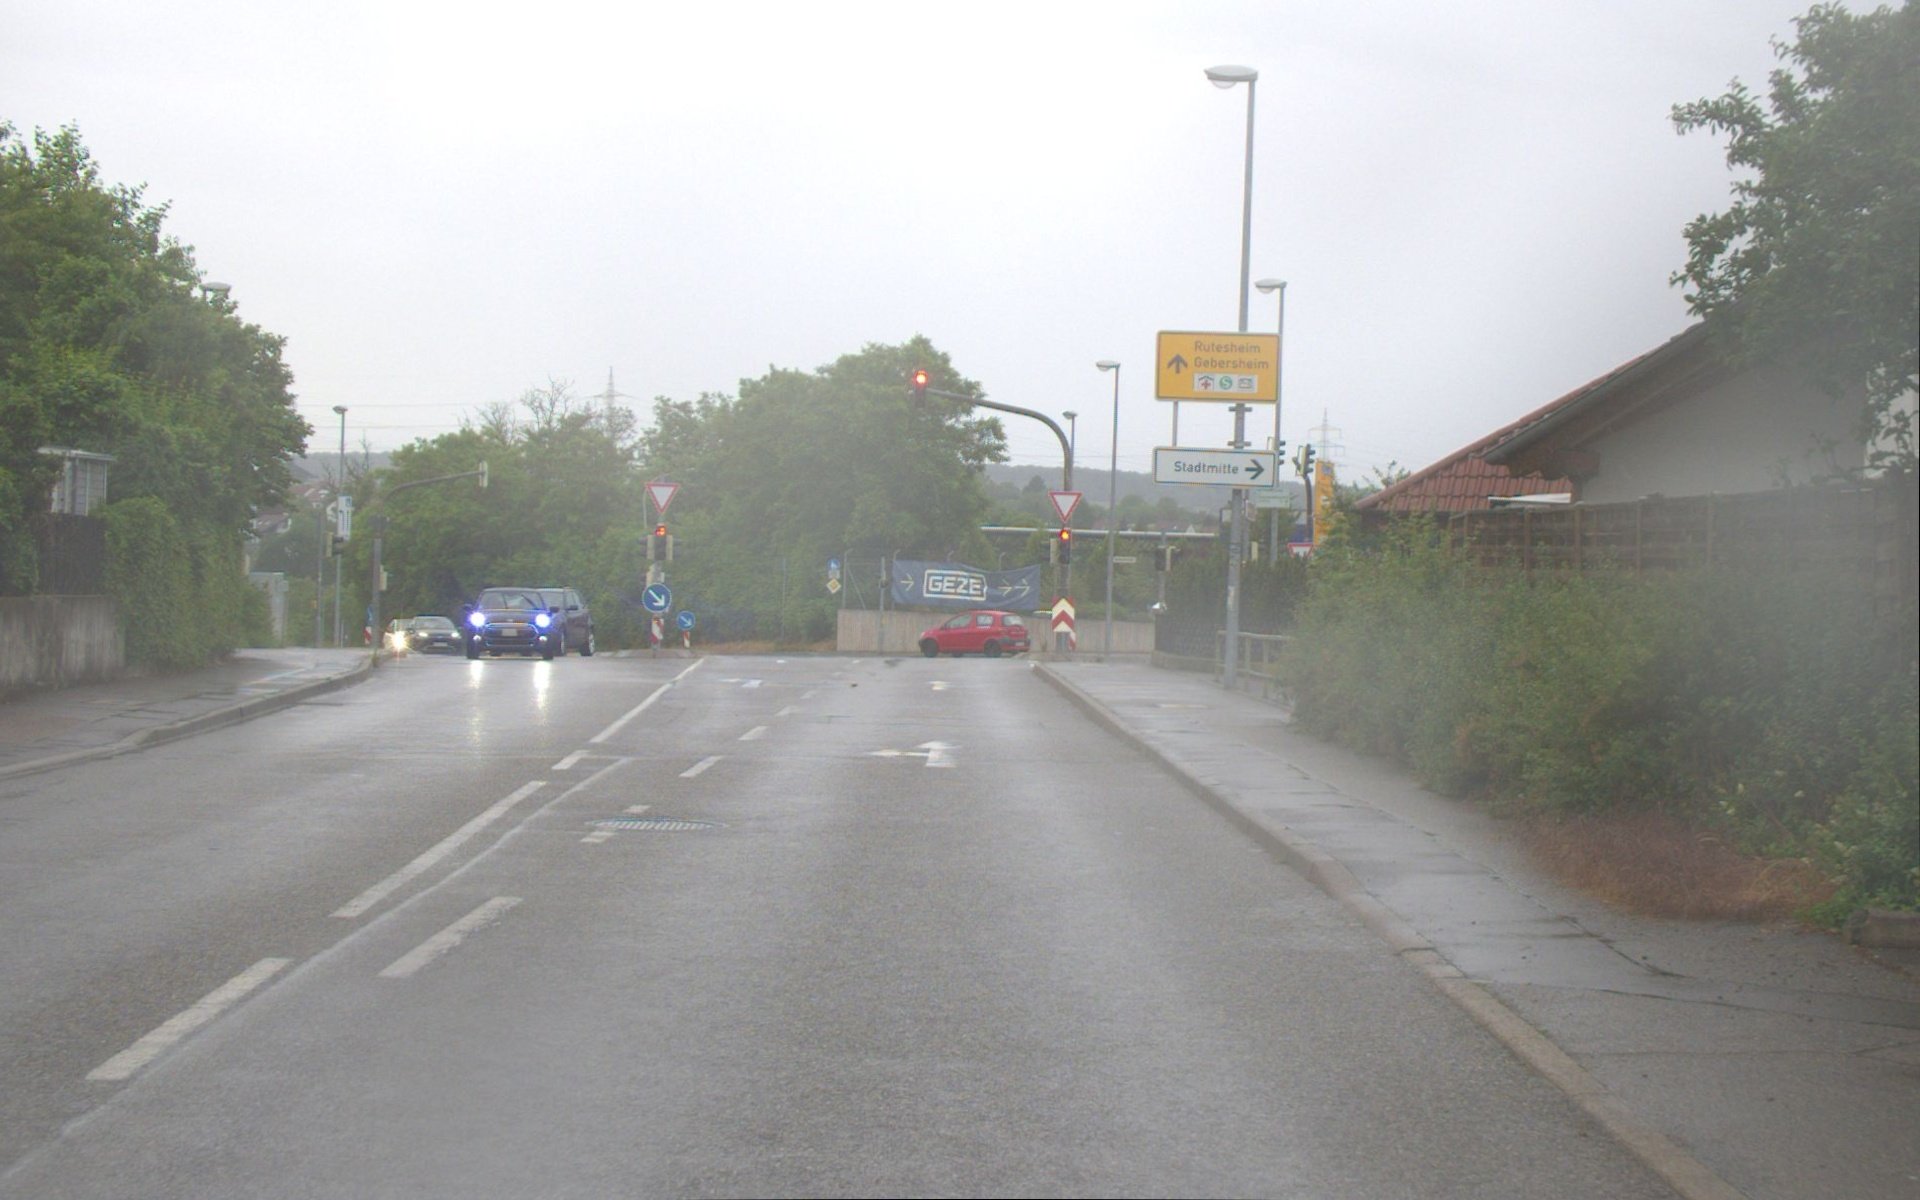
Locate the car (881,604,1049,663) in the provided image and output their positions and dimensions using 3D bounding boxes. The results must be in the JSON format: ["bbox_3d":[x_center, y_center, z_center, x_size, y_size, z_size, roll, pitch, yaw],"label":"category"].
[{"bbox_3d":[0.151,1.052,108.128,4.750,1.684,2.301,-2,1,33],"label":"car"}]

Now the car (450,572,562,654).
[{"bbox_3d":[-9.028,0.229,68.615,1.805,1.518,4.000,2,1,-2],"label":"car"}]

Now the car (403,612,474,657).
[{"bbox_3d":[-18.443,1.216,121.435,1.993,1.459,4.001,-1,1,-16],"label":"car"}]
